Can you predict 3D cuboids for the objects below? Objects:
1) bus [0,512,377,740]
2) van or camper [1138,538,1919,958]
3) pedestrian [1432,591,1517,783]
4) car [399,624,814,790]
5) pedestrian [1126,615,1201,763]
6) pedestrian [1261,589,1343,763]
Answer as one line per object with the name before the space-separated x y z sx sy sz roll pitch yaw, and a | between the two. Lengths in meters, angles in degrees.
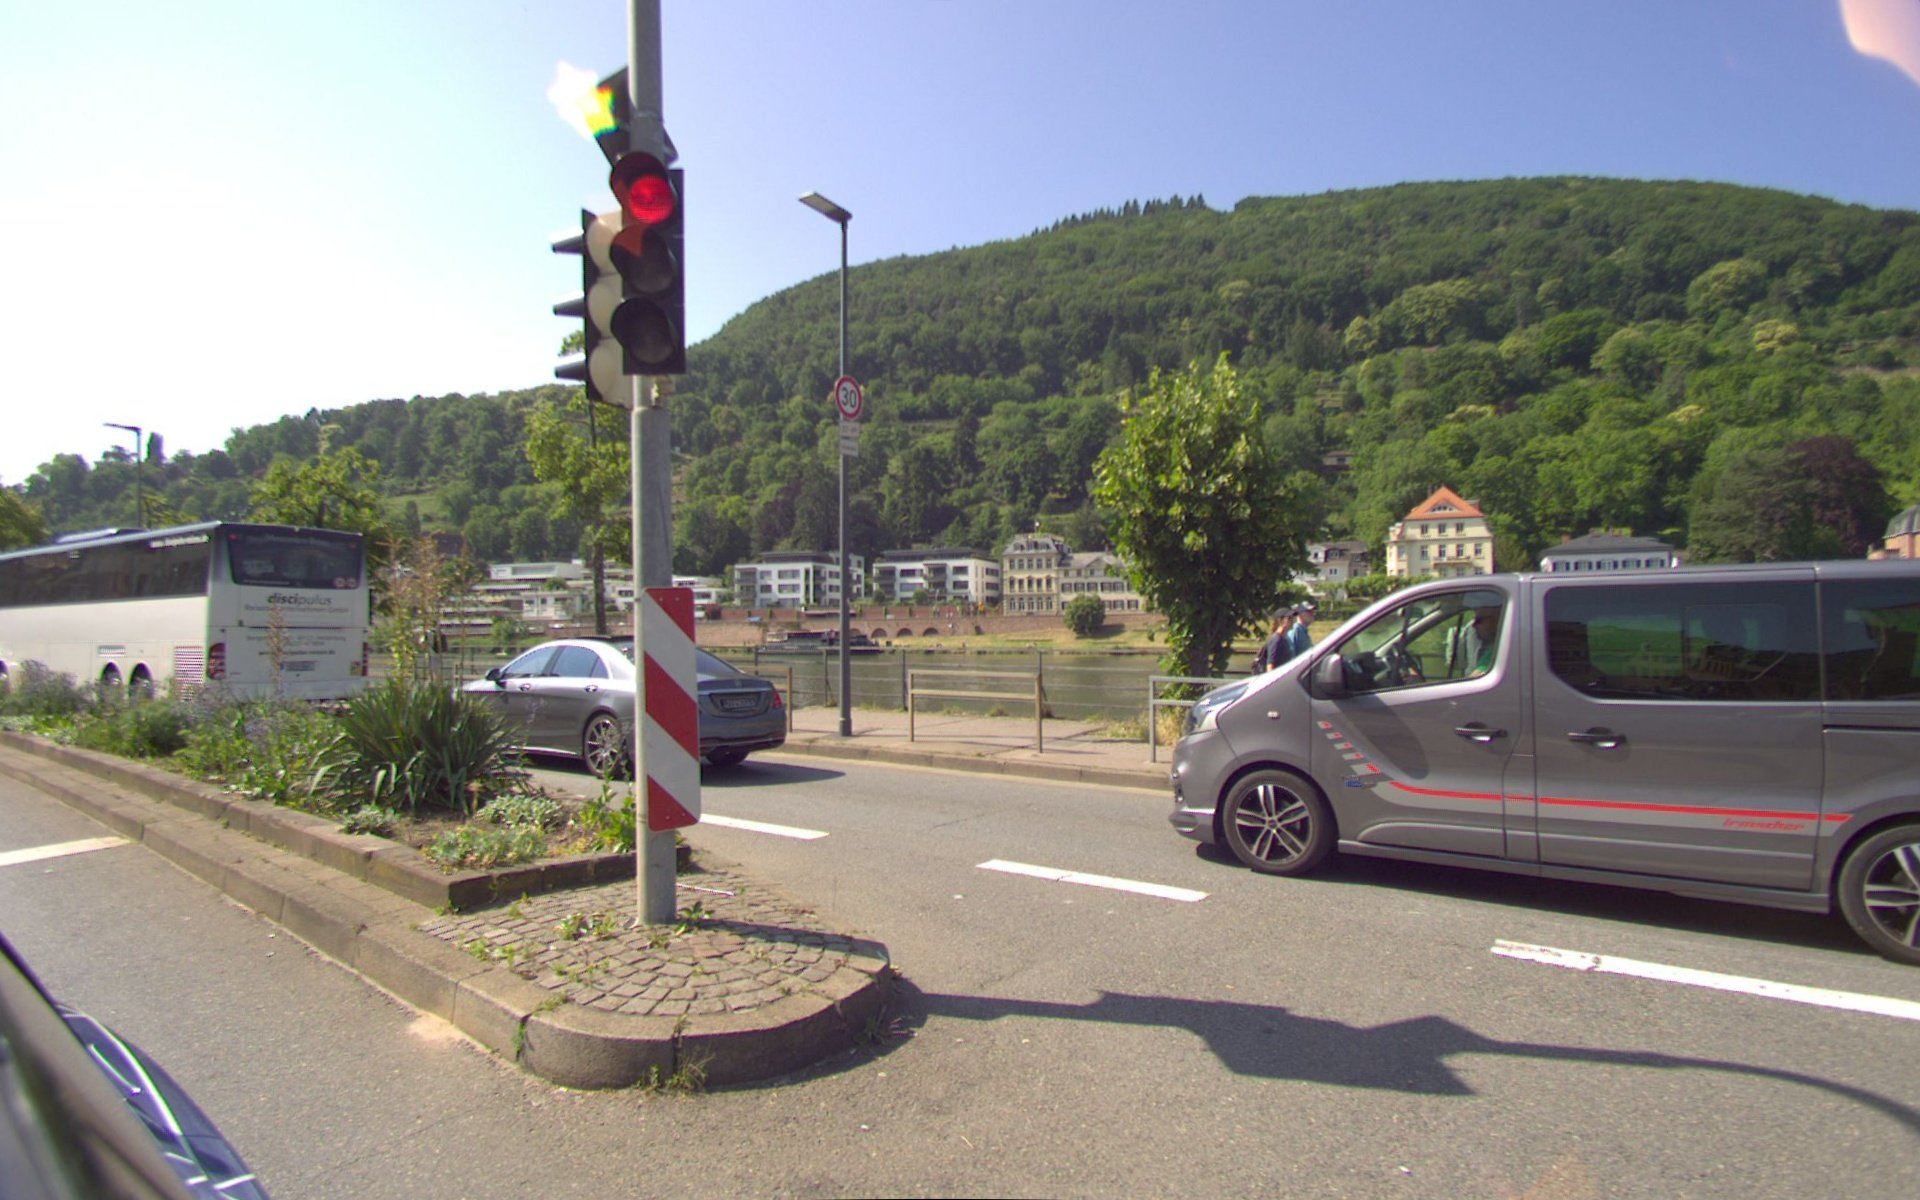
bus | -16.604 0.522 20.513 12.942 3.591 2.610 -1 -2 33
van or camper | 3.870 0.729 6.139 5.169 1.887 1.976 -2 -3 36
pedestrian | 5.302 0.862 10.416 0.693 1.872 0.756 -2 0 30
car | -4.342 1.167 12.104 5.143 1.611 1.977 -2 -5 34
pedestrian | 2.325 0.989 11.565 0.640 1.612 0.536 -2 0 34
pedestrian | 3.869 0.825 11.425 0.693 1.872 0.756 -2 0 30
